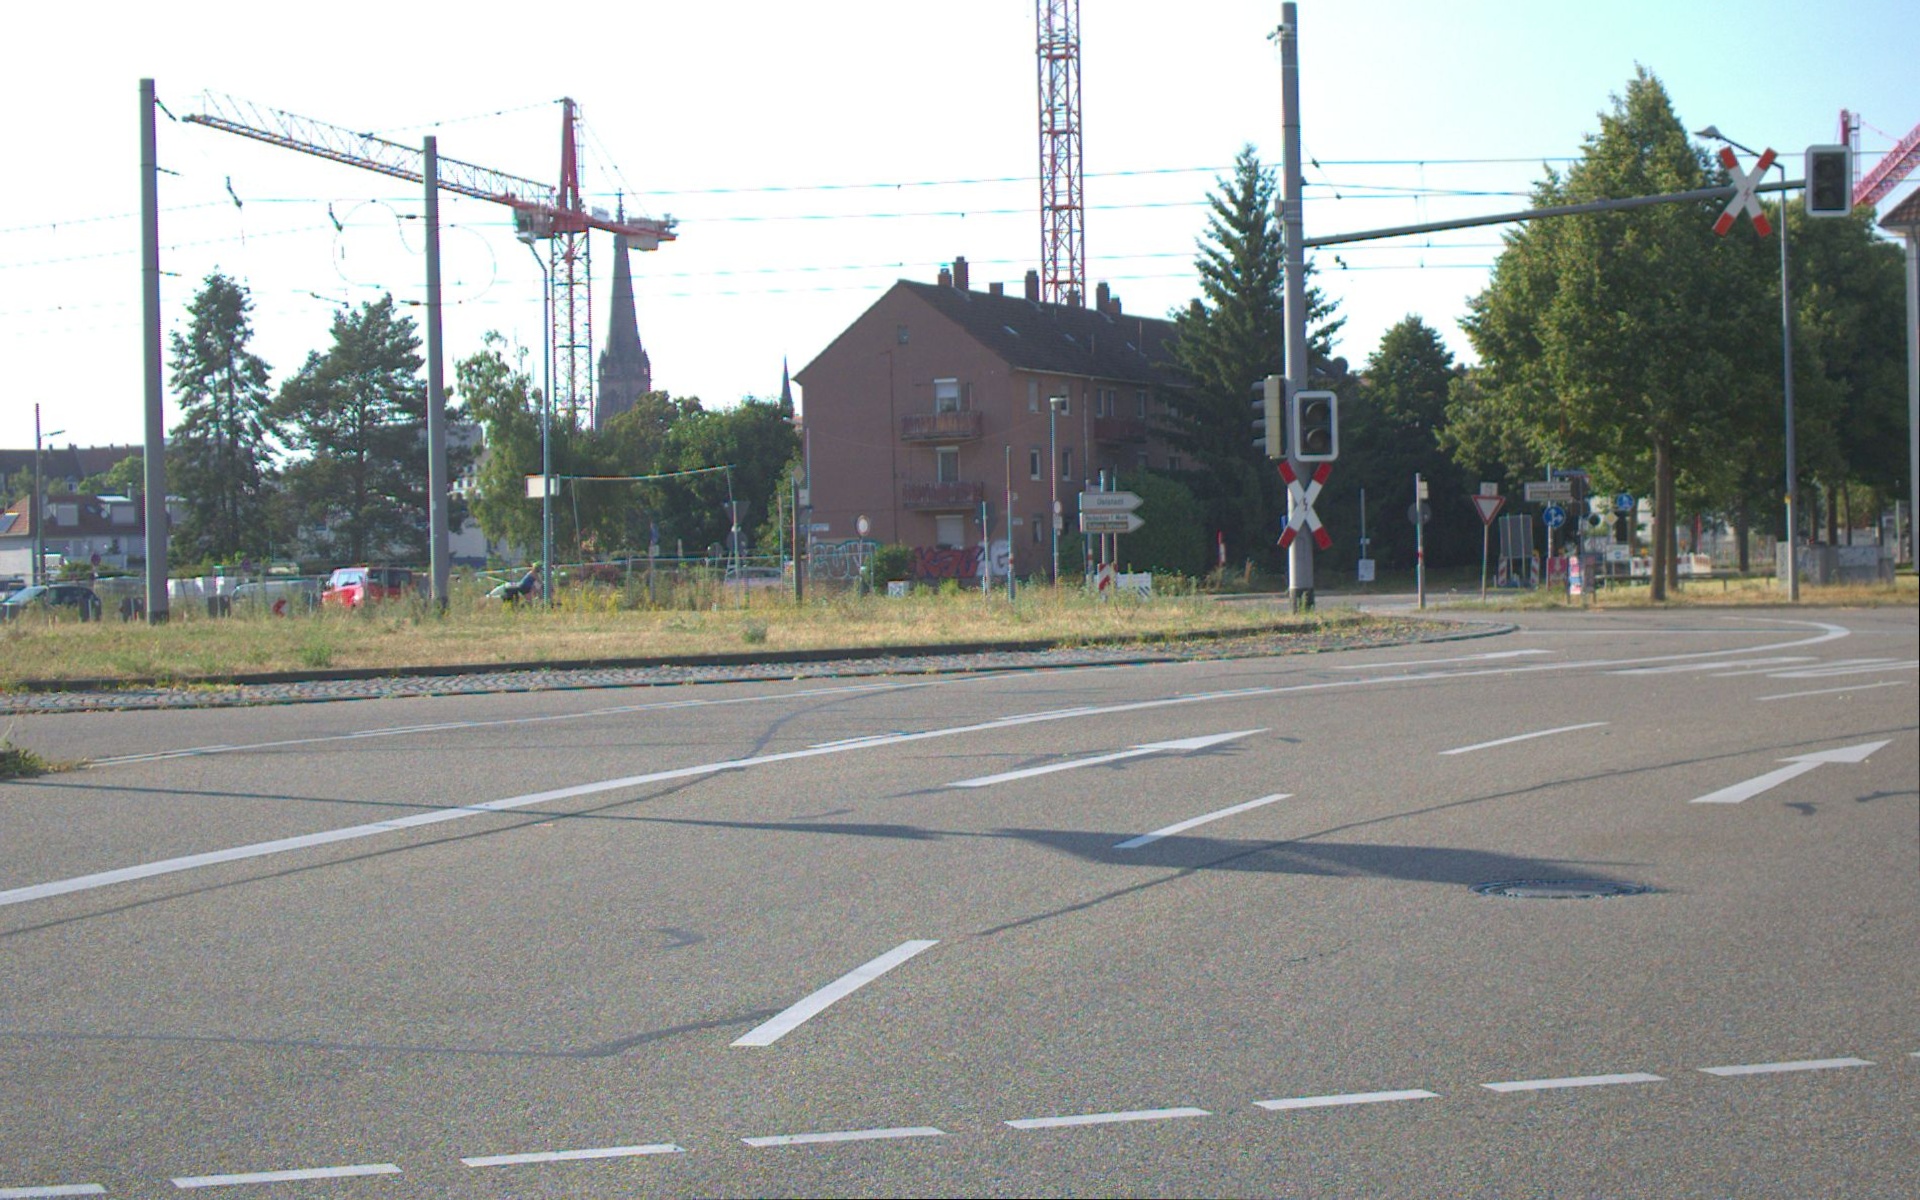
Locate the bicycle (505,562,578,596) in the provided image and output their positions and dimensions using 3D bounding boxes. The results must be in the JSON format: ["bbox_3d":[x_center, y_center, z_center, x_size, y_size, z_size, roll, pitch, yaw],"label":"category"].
[{"bbox_3d":[-11.679,-0.586,96.047,1.987,0.915,0.430,-1,1,-6],"label":"bicycle"}]

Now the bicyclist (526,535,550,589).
[{"bbox_3d":[-11.788,-1.065,96.031,0.622,1.506,0.419,-1,1,-5],"label":"bicyclist"}]

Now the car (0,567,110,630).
[{"bbox_3d":[-28.297,-0.044,105.159,3.987,1.809,2.000,-2,1,-32],"label":"car"}]

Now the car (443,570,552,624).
[{"bbox_3d":[-17.867,-0.104,132.884,3.812,2.007,1.670,-1,0,19],"label":"car"}]

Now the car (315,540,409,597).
[{"bbox_3d":[-20.245,-1.070,116.236,1.919,1.847,4.000,-2,1,-28],"label":"car"}]
